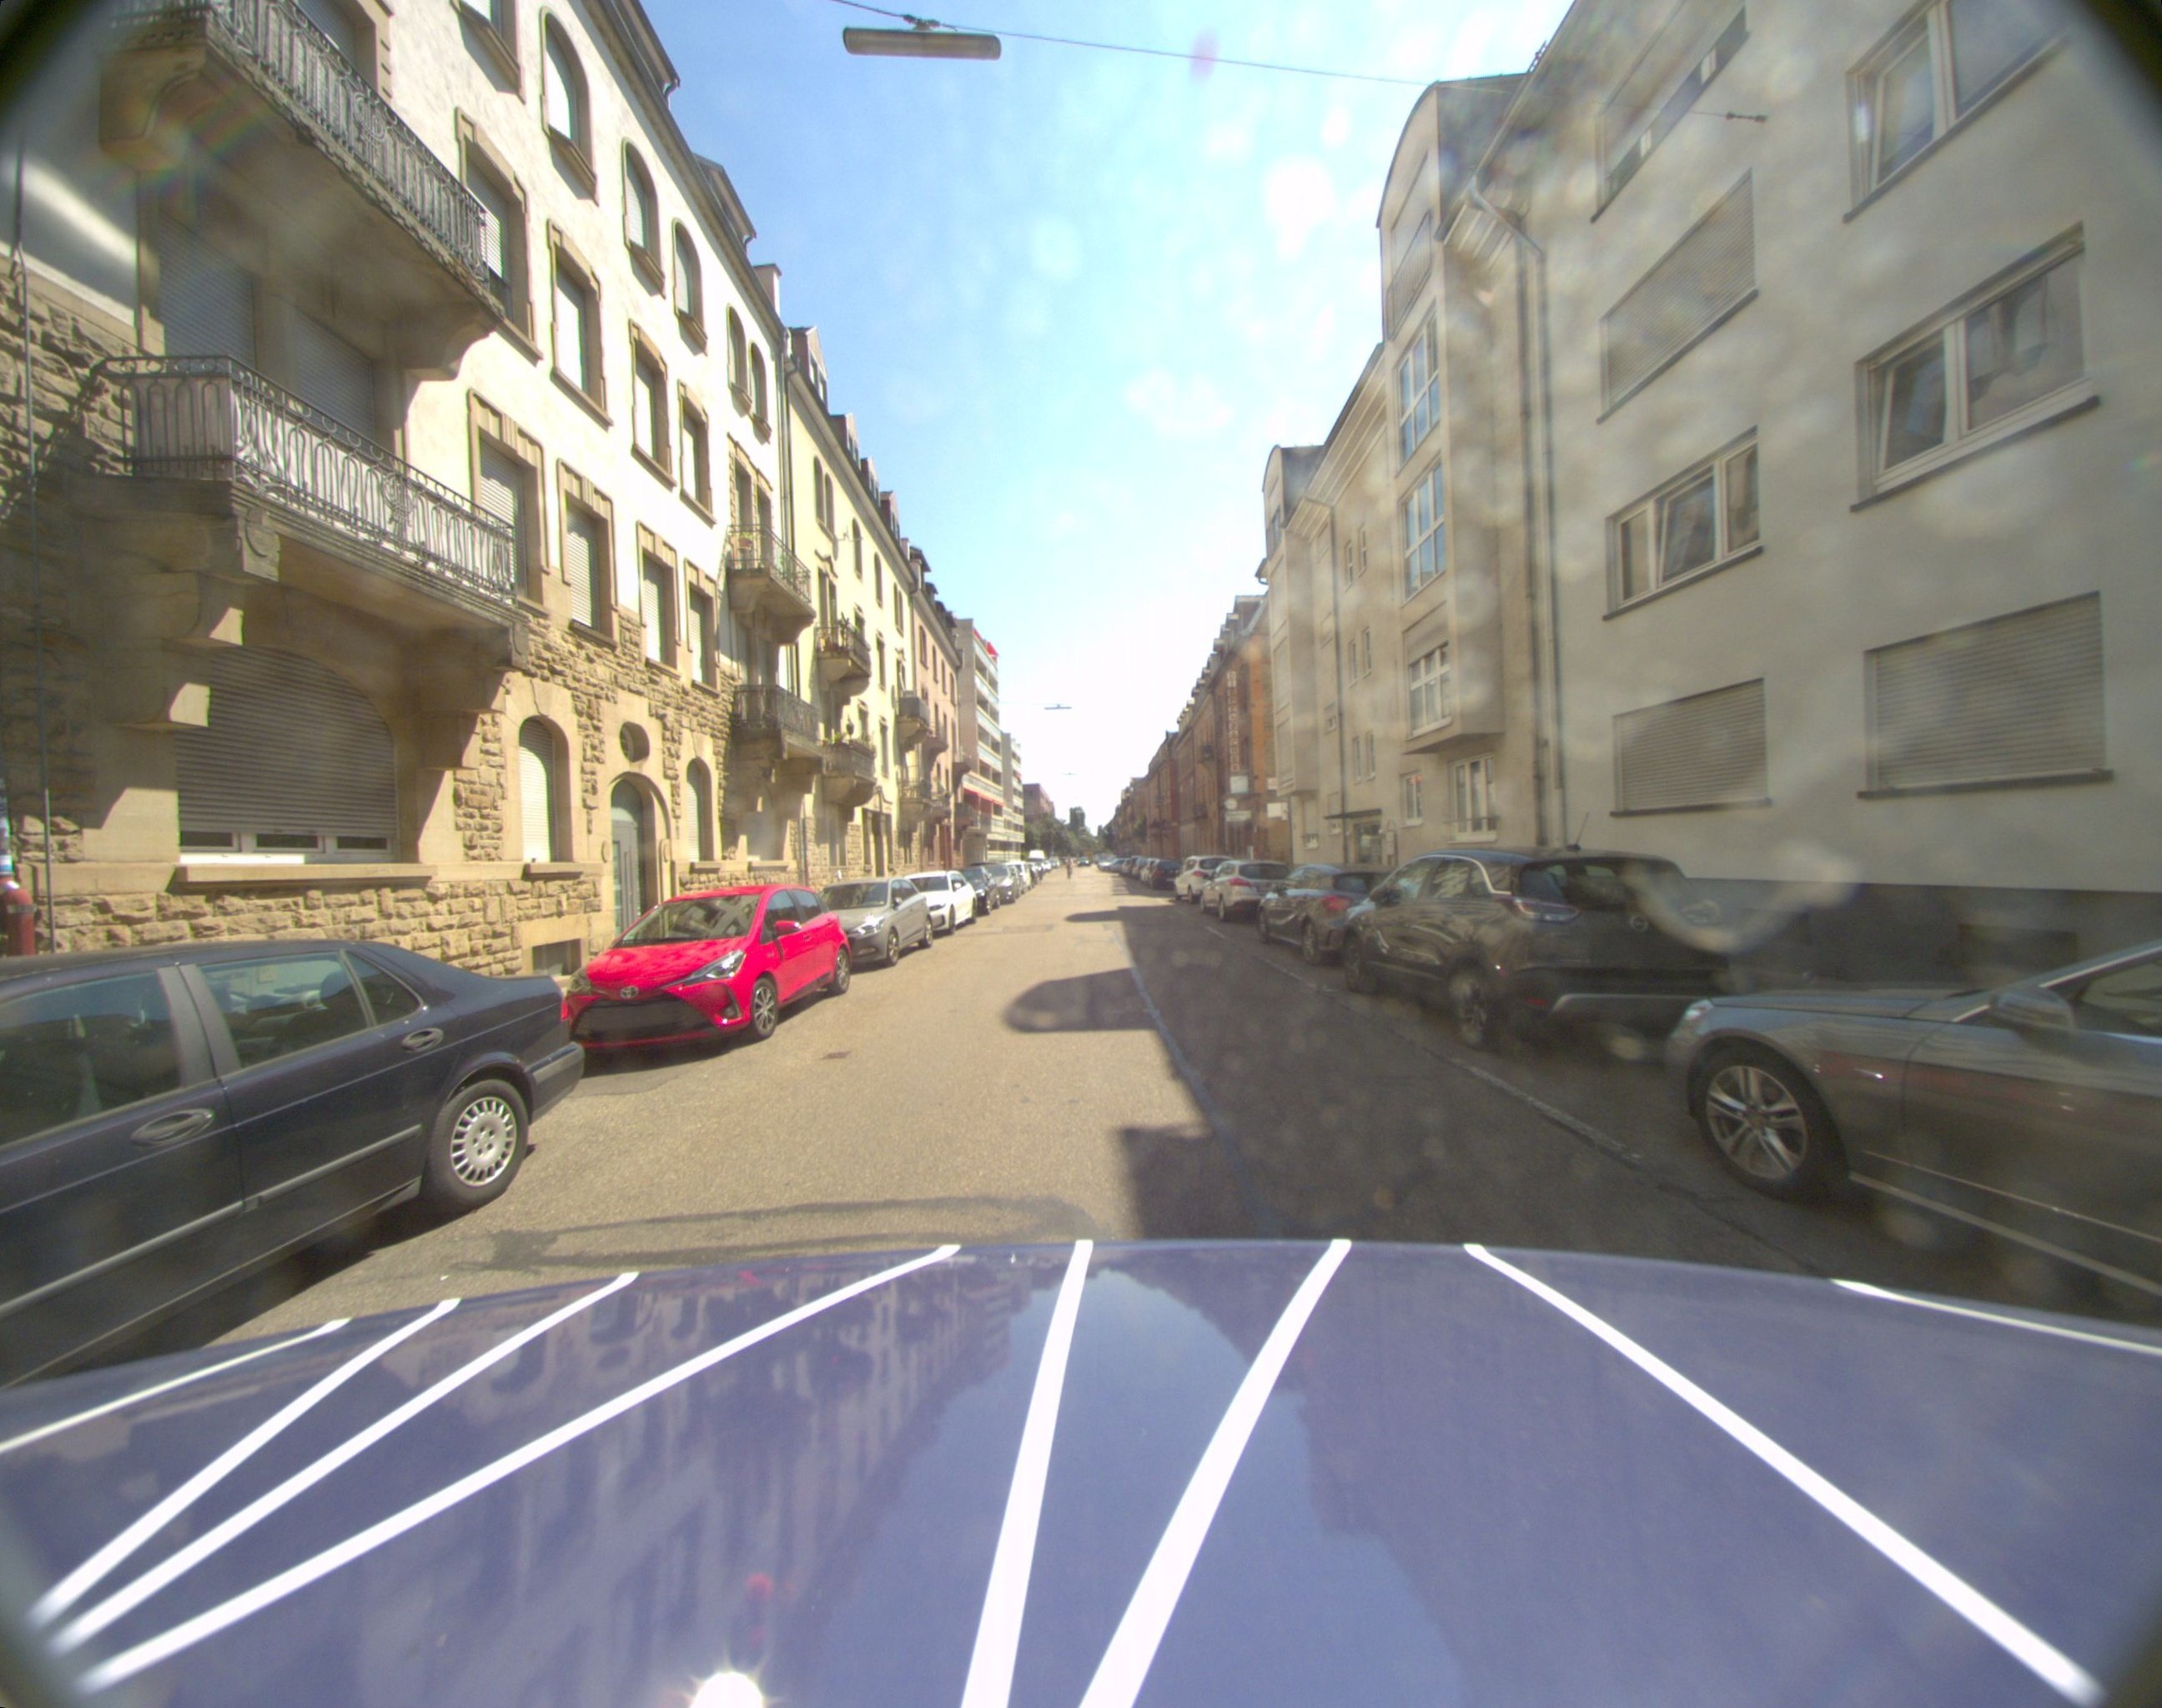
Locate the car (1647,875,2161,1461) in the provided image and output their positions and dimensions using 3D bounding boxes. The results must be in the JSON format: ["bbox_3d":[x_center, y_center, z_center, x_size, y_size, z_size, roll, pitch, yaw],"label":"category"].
[{"bbox_3d":[3.734,0.876,1.510,1.661,1.510,4.670,0,0,-1],"label":"car"}]

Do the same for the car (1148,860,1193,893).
[{"bbox_3d":[4.301,1.035,37.060,1.781,1.421,3.837,2,0,1],"label":"car"}]

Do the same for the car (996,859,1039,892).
[{"bbox_3d":[-3.384,1.118,41.006,1.652,1.613,4.092,-1,0,4],"label":"car"}]

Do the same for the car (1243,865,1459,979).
[{"bbox_3d":[3.935,0.902,11.937,1.769,1.385,4.348,0,0,-1],"label":"car"}]

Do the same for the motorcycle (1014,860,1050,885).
[{"bbox_3d":[-3.107,1.189,48.671,2.197,1.422,0.733,-6,1,-40],"label":"motorcycle"}]

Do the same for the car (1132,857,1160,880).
[{"bbox_3d":[4.346,0.957,51.354,1.450,1.464,3.525,2,0,-2],"label":"car"}]

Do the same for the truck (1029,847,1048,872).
[{"bbox_3d":[-4.889,0.577,87.414,1.869,2.715,4.507,-1,0,0],"label":"truck"}]

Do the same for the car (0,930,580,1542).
[{"bbox_3d":[-3.723,1.203,2.529,1.516,1.390,3.971,-4,0,-2],"label":"car"}]

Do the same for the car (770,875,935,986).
[{"bbox_3d":[-3.826,1.210,13.440,1.593,1.444,3.856,-4,0,1],"label":"car"}]

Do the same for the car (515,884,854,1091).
[{"bbox_3d":[-3.850,1.185,8.217,1.574,1.444,3.842,-4,0,0],"label":"car"}]

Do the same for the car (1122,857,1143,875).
[{"bbox_3d":[4.229,0.988,62.489,1.450,1.391,3.526,2,0,0],"label":"car"}]

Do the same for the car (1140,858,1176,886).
[{"bbox_3d":[4.221,0.965,42.138,1.632,1.421,3.678,2,0,1],"label":"car"}]

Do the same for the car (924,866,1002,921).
[{"bbox_3d":[-3.658,1.170,24.363,1.741,1.449,4.668,-1,0,0],"label":"car"}]

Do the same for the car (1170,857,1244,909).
[{"bbox_3d":[4.252,0.937,26.129,1.633,1.540,3.852,2,0,-4],"label":"car"}]

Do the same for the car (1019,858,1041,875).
[{"bbox_3d":[-4.804,1.138,72.419,1.754,1.484,3.902,-1,0,0],"label":"car"}]

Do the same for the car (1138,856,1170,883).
[{"bbox_3d":[4.475,0.926,47.008,1.450,1.534,3.524,2,0,-3],"label":"car"}]

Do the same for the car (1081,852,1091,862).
[{"bbox_3d":[0.790,0.439,122.479,1.625,1.600,3.597,-1,0,0],"label":"car"}]

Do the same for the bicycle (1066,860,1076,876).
[{"bbox_3d":[-0.714,1.059,57.320,0.671,1.169,2.094,-1,0,1],"label":"bicycle"}]

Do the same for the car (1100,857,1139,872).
[{"bbox_3d":[3.957,1.041,79.217,3.997,1.422,1.678,-1,1,1],"label":"car"}]

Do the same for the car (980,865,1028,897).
[{"bbox_3d":[-3.593,1.231,35.967,1.791,1.350,4.352,-1,0,0],"label":"car"}]

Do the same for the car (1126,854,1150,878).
[{"bbox_3d":[4.316,0.884,57.552,1.450,1.633,3.525,2,0,-1],"label":"car"}]

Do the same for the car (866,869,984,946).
[{"bbox_3d":[-3.696,1.216,18.822,1.720,1.444,4.597,-4,0,2],"label":"car"}]

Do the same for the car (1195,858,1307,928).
[{"bbox_3d":[4.114,0.874,19.108,1.735,1.486,4.348,1,0,-1],"label":"car"}]

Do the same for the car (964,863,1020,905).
[{"bbox_3d":[-3.454,1.149,30.324,1.828,1.423,4.488,-3,0,-2],"label":"car"}]

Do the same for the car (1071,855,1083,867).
[{"bbox_3d":[-0.658,1.133,128.904,1.826,2.002,3.867,-1,0,0],"label":"car"}]

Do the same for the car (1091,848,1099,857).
[{"bbox_3d":[3.212,-0.275,176.448,1.785,2.002,4.000,-2,0,3],"label":"car"}]

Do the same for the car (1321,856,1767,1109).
[{"bbox_3d":[3.676,0.849,6.986,1.608,1.634,3.976,0,0,-1],"label":"car"}]

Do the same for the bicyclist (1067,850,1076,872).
[{"bbox_3d":[-0.723,0.551,57.346,0.645,1.640,0.622,-1,1,1],"label":"bicyclist"}]

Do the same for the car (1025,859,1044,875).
[{"bbox_3d":[-4.881,1.359,80.969,1.717,1.543,4.000,-1,0,0],"label":"car"}]
